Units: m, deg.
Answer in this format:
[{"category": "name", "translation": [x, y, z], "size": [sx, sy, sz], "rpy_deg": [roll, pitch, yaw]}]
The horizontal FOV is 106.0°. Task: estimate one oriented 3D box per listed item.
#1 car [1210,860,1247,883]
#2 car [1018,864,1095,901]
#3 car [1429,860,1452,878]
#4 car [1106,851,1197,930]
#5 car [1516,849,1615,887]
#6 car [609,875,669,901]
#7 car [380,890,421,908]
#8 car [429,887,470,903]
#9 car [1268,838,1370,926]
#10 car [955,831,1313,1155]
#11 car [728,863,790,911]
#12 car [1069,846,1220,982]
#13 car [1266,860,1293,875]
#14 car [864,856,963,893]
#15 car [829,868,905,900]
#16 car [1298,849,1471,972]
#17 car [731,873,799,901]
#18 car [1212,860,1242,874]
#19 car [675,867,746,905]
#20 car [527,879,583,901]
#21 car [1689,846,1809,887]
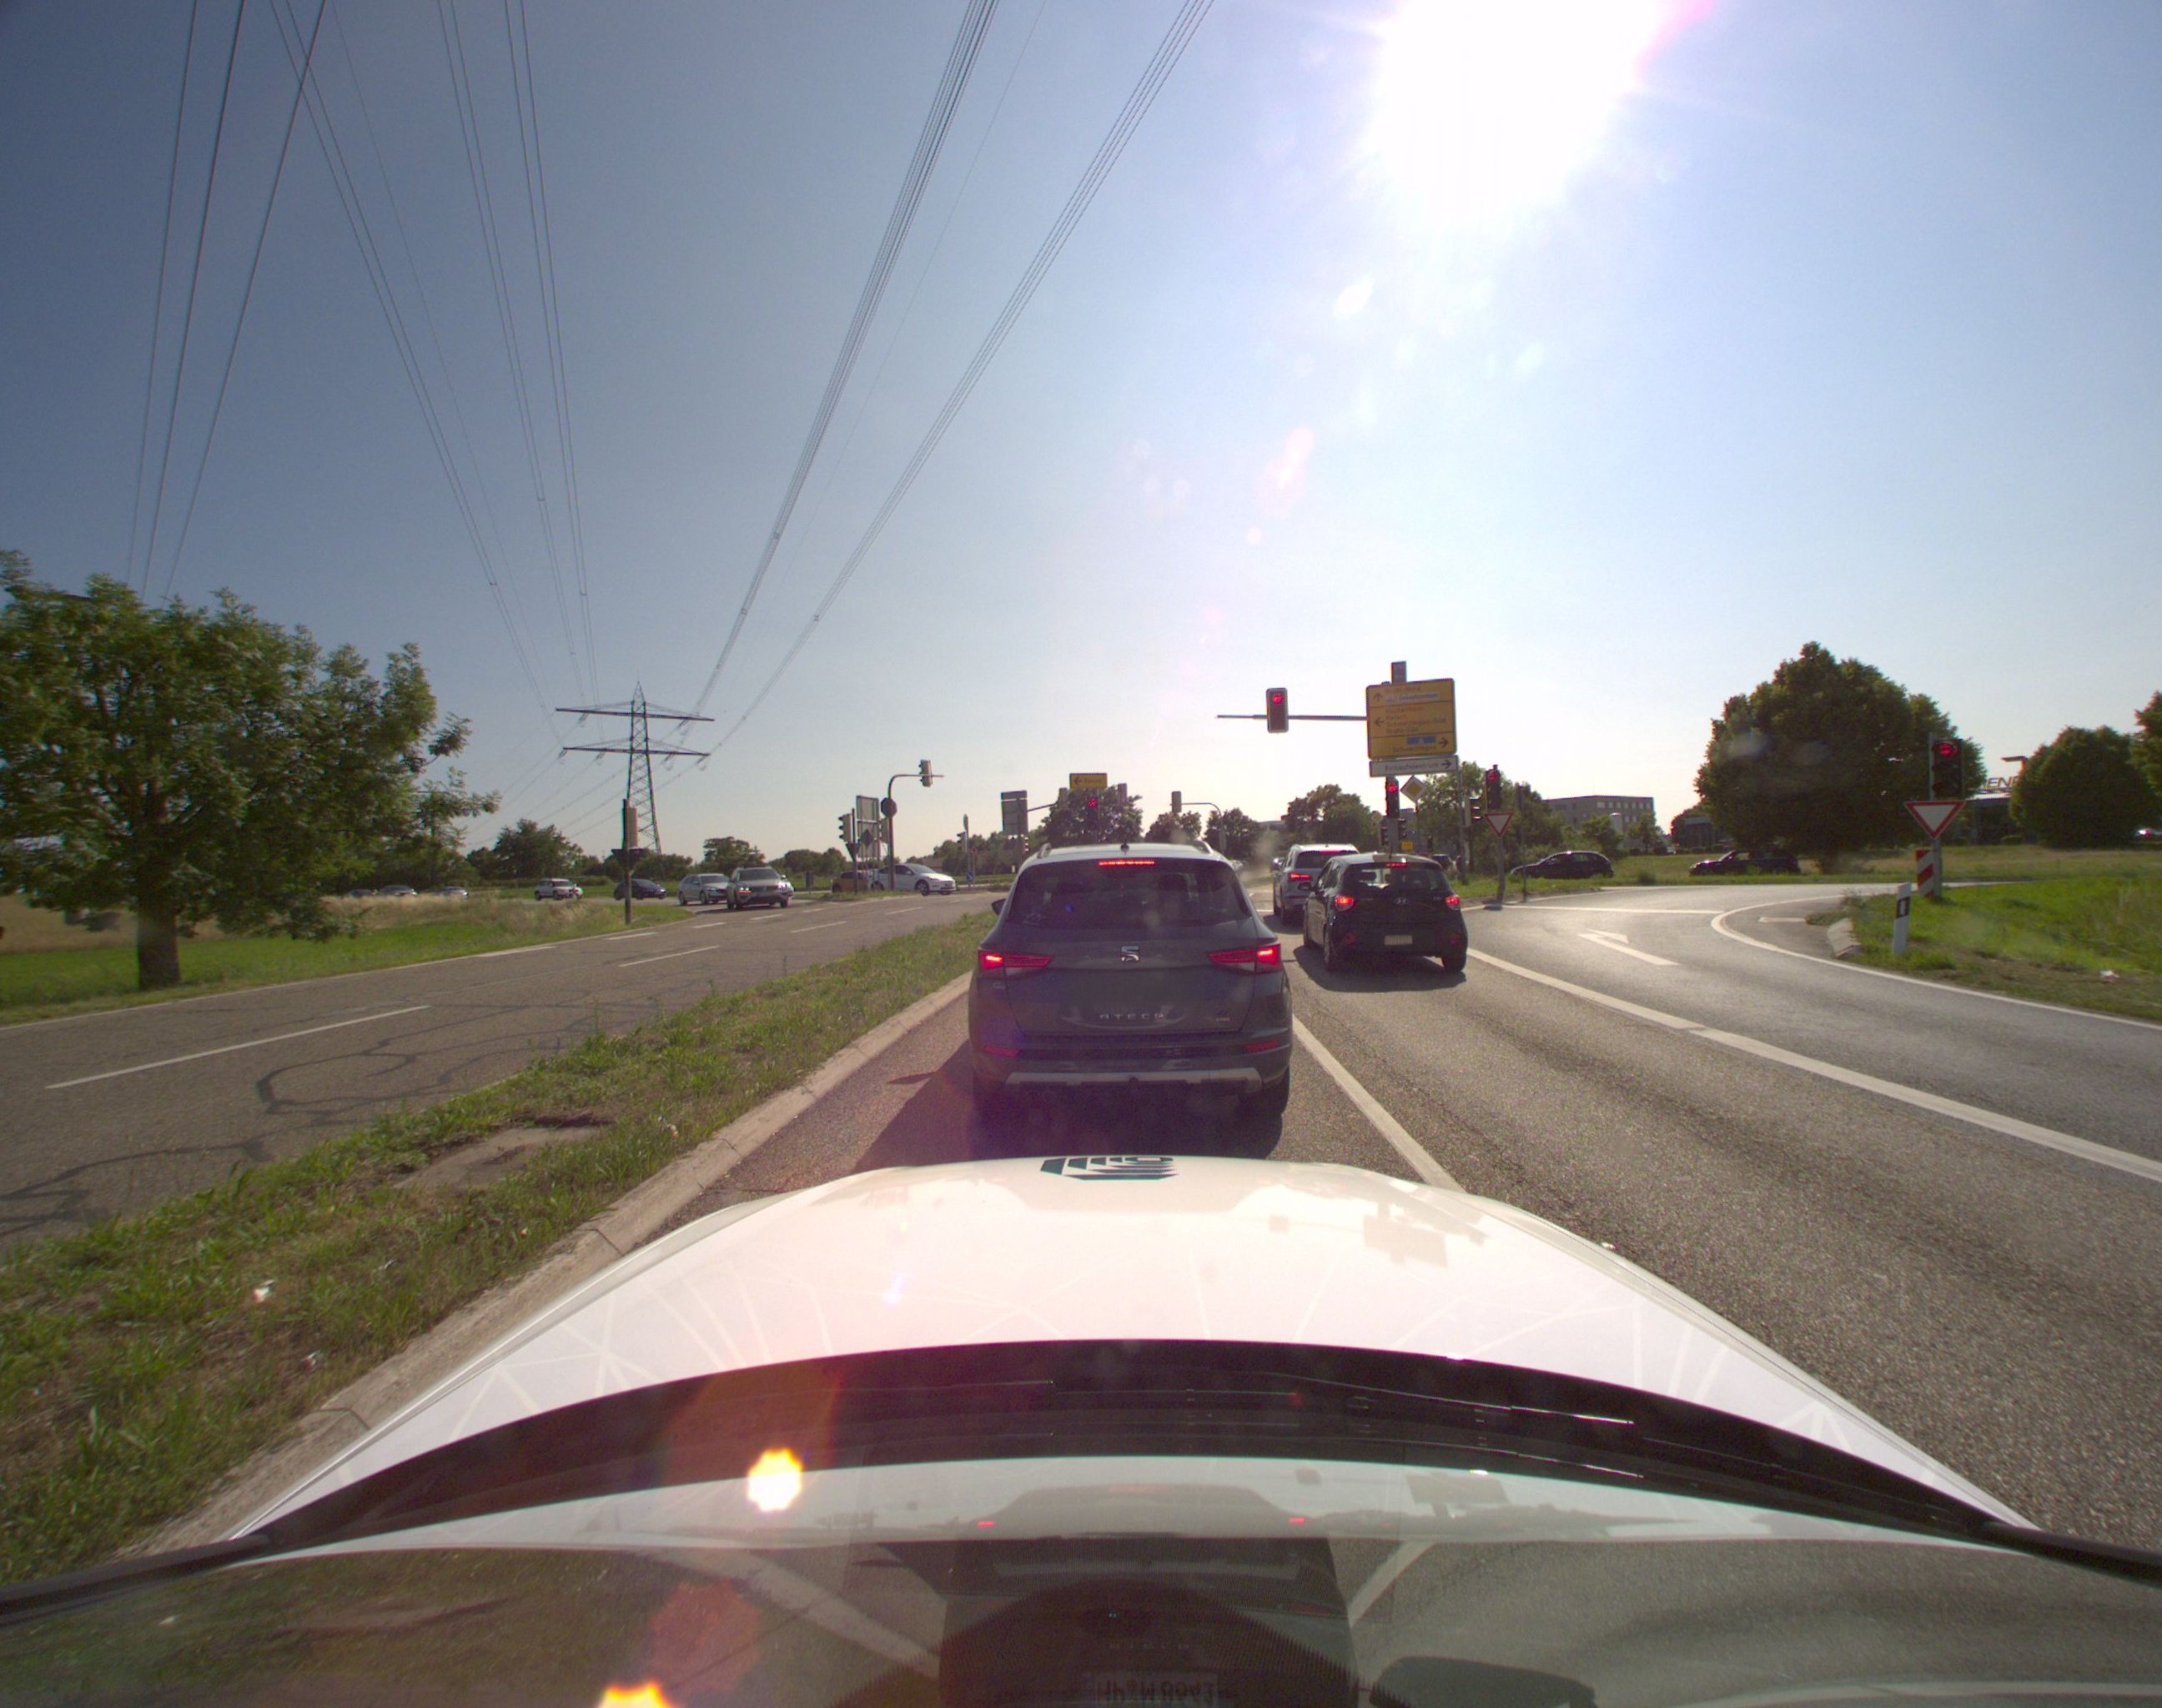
[{"category": "car", "translation": [11.216, 1.326, 61.643], "size": [1.860, 1.673, 3.791], "rpy_deg": [0, -1, 25]}, {"category": "car", "translation": [-1.389, 1.607, 46.020], "size": [3.969, 1.953, 1.706], "rpy_deg": [-2, -1, 29]}, {"category": "car", "translation": [35.844, 1.463, 81.086], "size": [1.859, 1.673, 3.792], "rpy_deg": [0, -1, 27]}, {"category": "car", "translation": [1.572, 0.712, 17.363], "size": [1.732, 1.484, 3.631], "rpy_deg": [0, -1, 7]}, {"category": "car", "translation": [20.338, 0.588, 34.290], "size": [3.500, 1.516, 1.471], "rpy_deg": [0, -1, 29]}, {"category": "car", "translation": [-30.729, 2.357, 56.579], "size": [3.949, 1.651, 1.831], "rpy_deg": [-2, -1, 29]}, {"category": "car", "translation": [-63.821, 4.191, 76.372], "size": [3.948, 1.486, 1.832], "rpy_deg": [0, -1, 32]}, {"category": "car", "translation": [-63.238, 4.131, 81.531], "size": [3.831, 1.519, 1.818], "rpy_deg": [-2, -1, 27]}, {"category": "car", "translation": [5.015, 0.557, 17.578], "size": [1.623, 1.677, 3.758], "rpy_deg": [-1, 0, 9]}, {"category": "car", "translation": [0.311, 0.690, 5.777], "size": [1.735, 1.569, 3.625], "rpy_deg": [0, -1, 2]}, {"category": "car", "translation": [-12.483, 1.228, 31.415], "size": [1.824, 1.651, 3.964], "rpy_deg": [-1, -1, -27]}, {"category": "car", "translation": [0.821, 0.711, 11.255], "size": [1.735, 1.569, 3.626], "rpy_deg": [0, -1, 3]}, {"category": "car", "translation": [21.455, 1.434, 87.887], "size": [1.859, 1.673, 3.793], "rpy_deg": [0, -1, 31]}, {"category": "car", "translation": [-8.328, 1.030, 40.286], "size": [4.700, 1.651, 1.831], "rpy_deg": [-2, -1, 29]}, {"category": "car", "translation": [-12.120, 1.701, 45.990], "size": [3.949, 1.651, 1.831], "rpy_deg": [-2, -1, 29]}, {"category": "car", "translation": [4.047, 0.680, 11.366], "size": [1.623, 1.448, 3.303], "rpy_deg": [-1, 0, 9]}, {"category": "car", "translation": [-19.617, 2.058, 50.534], "size": [3.949, 1.651, 1.831], "rpy_deg": [-2, -1, 29]}, {"category": "car", "translation": [15.202, 1.344, 84.673], "size": [1.701, 1.497, 3.794], "rpy_deg": [0, -1, 33]}, {"category": "car", "translation": [-17.791, 1.531, 39.017], "size": [3.950, 1.651, 1.831], "rpy_deg": [-2, -1, 45]}, {"category": "car", "translation": [-39.580, 2.677, 61.282], "size": [3.949, 1.486, 1.831], "rpy_deg": [0, -1, 28]}, {"category": "car", "translation": [29.293, 0.569, 35.767], "size": [1.837, 1.695, 3.836], "rpy_deg": [-1, -1, -45]}]
